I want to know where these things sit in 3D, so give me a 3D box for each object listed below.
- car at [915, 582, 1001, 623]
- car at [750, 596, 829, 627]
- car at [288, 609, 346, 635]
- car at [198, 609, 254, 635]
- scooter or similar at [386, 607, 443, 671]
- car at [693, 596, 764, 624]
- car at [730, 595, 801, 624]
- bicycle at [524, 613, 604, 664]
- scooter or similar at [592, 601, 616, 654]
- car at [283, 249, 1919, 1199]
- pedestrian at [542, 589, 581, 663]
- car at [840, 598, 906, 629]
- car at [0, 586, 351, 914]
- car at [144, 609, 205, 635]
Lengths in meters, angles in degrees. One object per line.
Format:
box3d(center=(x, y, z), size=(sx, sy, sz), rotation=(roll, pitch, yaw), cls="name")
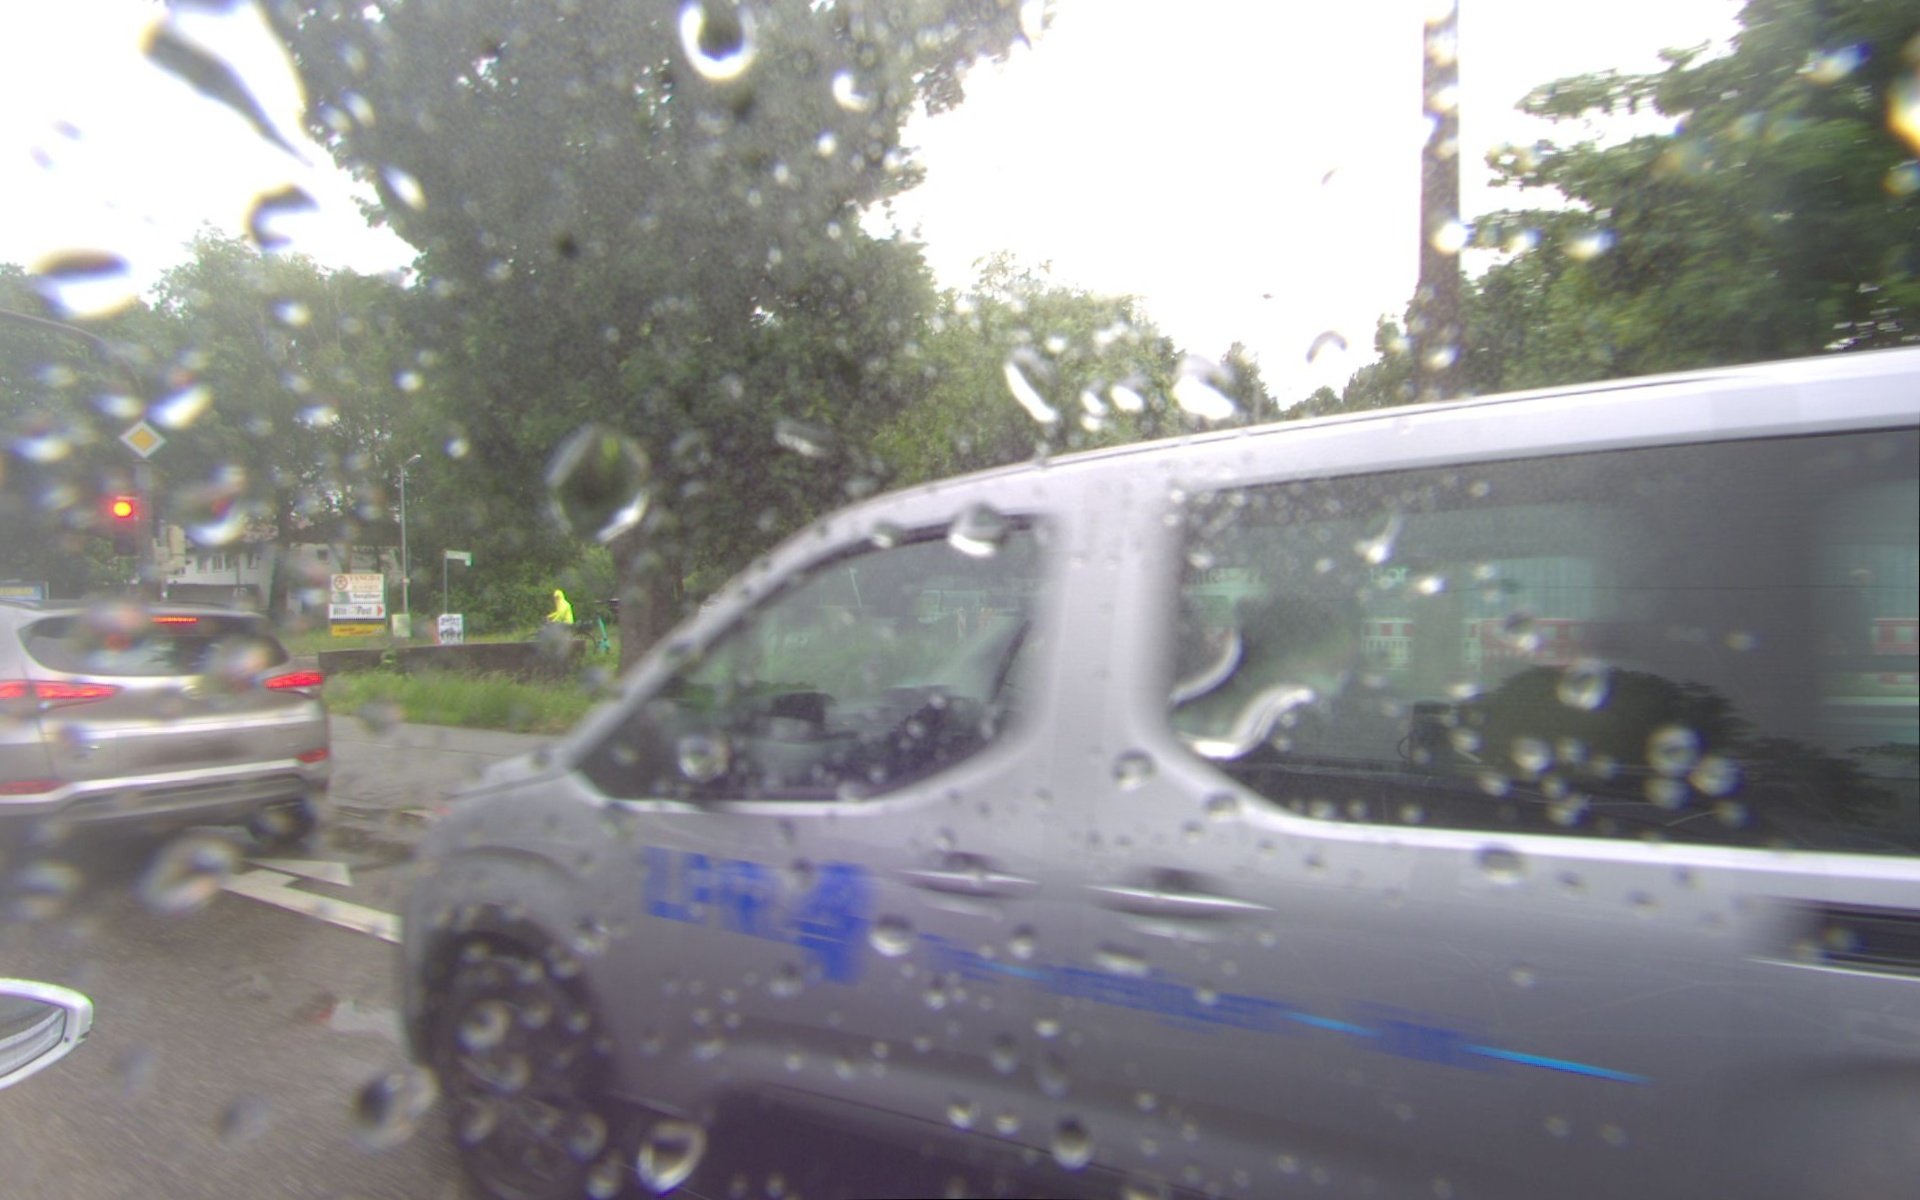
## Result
box3d(center=(-0.079, 0.164, 51.045), size=(4.146, 1.989, 1.911), rotation=(1, -2, -38), cls="car")
box3d(center=(-9.629, 0.684, 56.889), size=(1.898, 1.651, 4.580), rotation=(-1, -2, 31), cls="car")
box3d(center=(-37.848, 1.343, 59.035), size=(1.574, 1.467, 3.750), rotation=(0, -2, -11), cls="car")
box3d(center=(-42.502, 1.310, 58.066), size=(1.641, 1.467, 3.744), rotation=(1, -2, -20), cls="car")
box3d(center=(-10.980, 0.776, 20.170), size=(0.317, 1.246, 0.954), rotation=(0, 1, 36), cls="scooter or similar")
box3d(center=(-13.848, 0.631, 60.162), size=(1.893, 1.603, 4.590), rotation=(-1, -2, 23), cls="car")
box3d(center=(-11.386, 0.591, 58.982), size=(1.893, 1.603, 4.590), rotation=(-1, -2, 23), cls="car")
box3d(center=(-9.549, 0.917, 24.181), size=(1.634, 1.053, 0.788), rotation=(-3, 4, -13), cls="bicycle")
box3d(center=(-8.266, 0.632, 23.250), size=(0.553, 1.192, 0.284), rotation=(0, 1, 38), cls="scooter or similar")
box3d(center=(0.570, 0.591, 2.417), size=(4.496, 1.819, 1.990), rotation=(-1, -1, 32), cls="car")
box3d(center=(-9.605, 0.607, 24.154), size=(0.657, 1.702, 0.788), rotation=(-3, 4, -13), cls="pedestrian")
box3d(center=(-4.659, 0.769, 54.115), size=(1.697, 1.617, 3.649), rotation=(-1, -2, 34), cls="car")
box3d(center=(-6.126, 0.794, 6.726), size=(4.136, 1.631, 1.880), rotation=(-1, -1, 33), cls="car")
box3d(center=(-44.736, 1.277, 57.106), size=(1.641, 1.467, 3.744), rotation=(1, -2, -20), cls="car")
